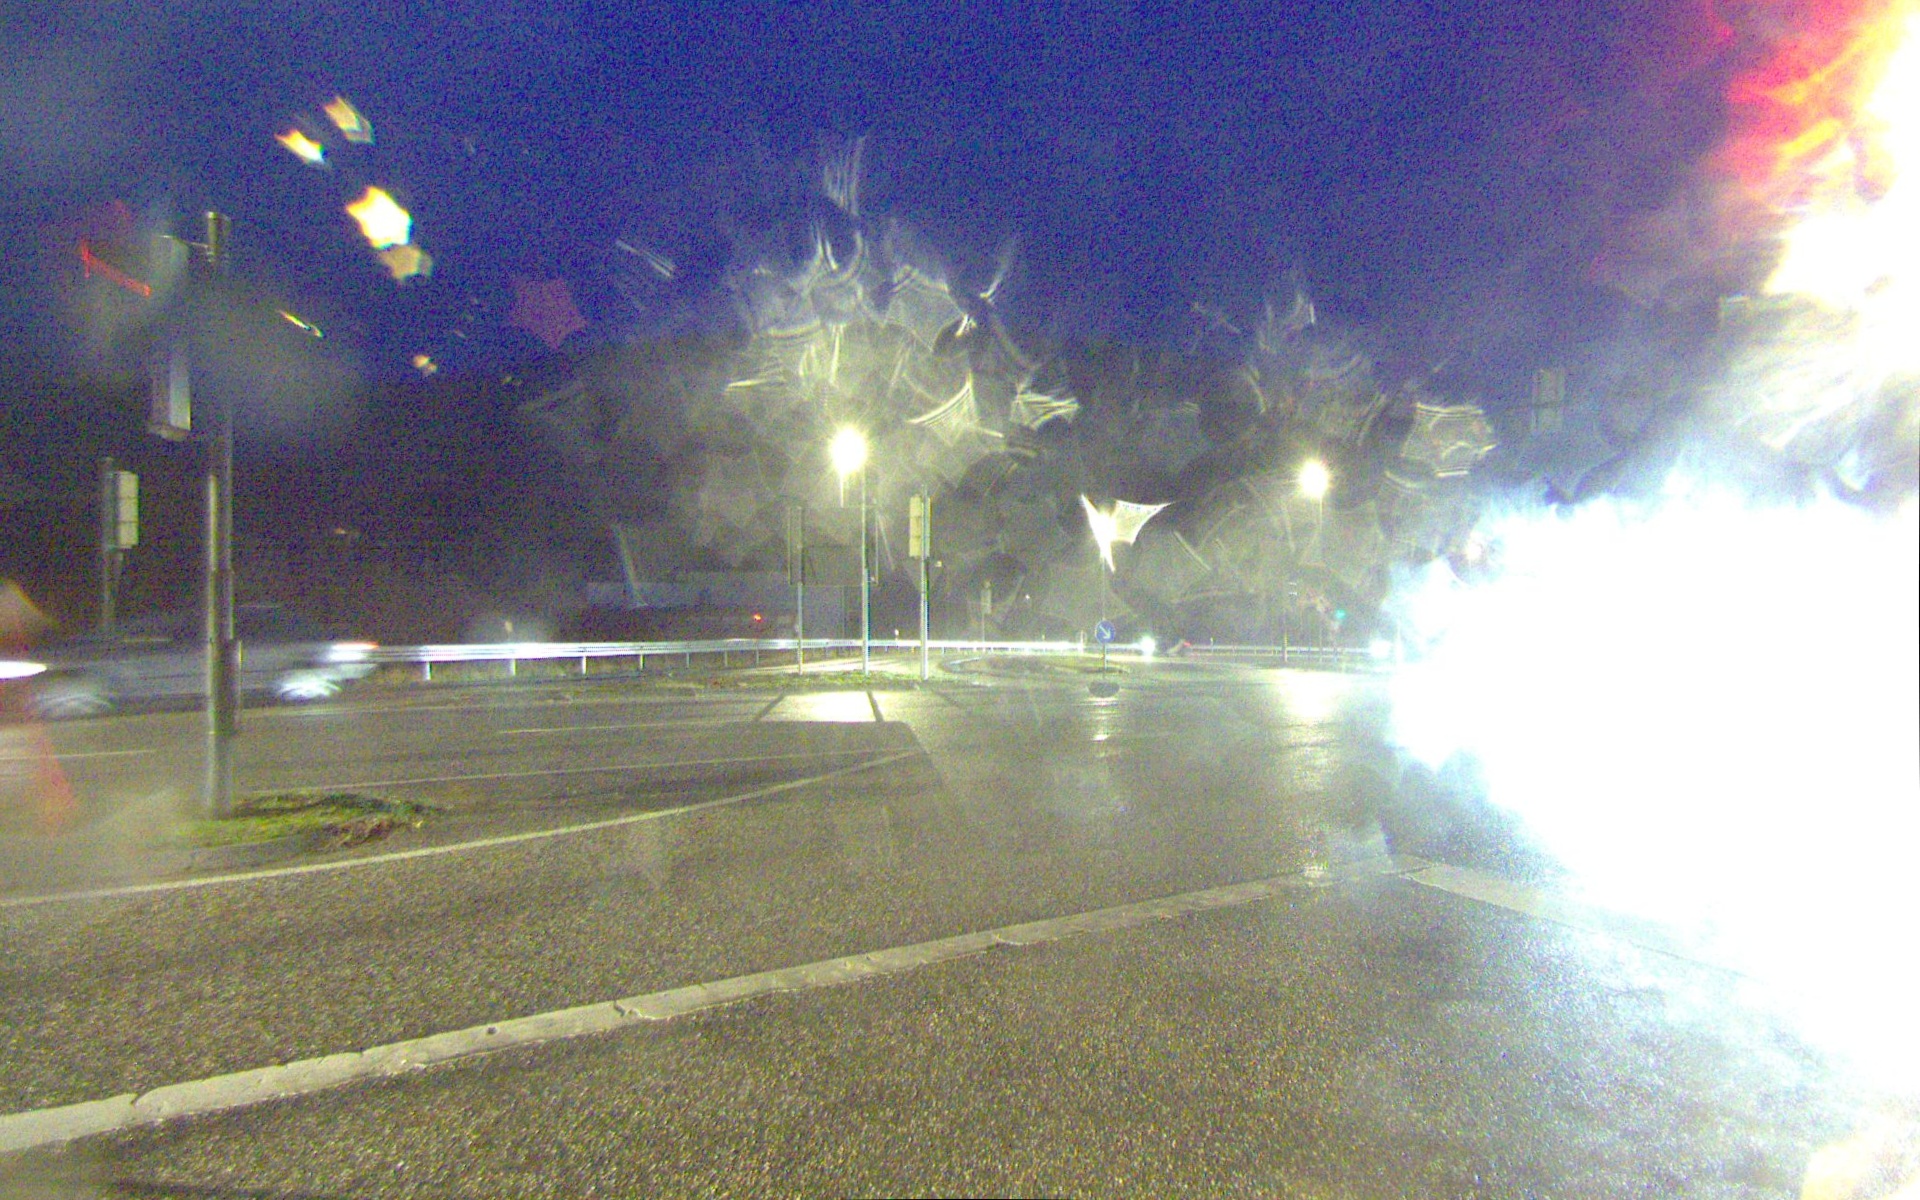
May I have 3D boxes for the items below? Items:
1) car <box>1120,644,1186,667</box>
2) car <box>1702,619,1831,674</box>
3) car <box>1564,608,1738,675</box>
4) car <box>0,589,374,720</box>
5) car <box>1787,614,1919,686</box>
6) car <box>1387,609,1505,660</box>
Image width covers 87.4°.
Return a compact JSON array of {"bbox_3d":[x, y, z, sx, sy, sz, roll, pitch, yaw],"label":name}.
[{"bbox_3d":[13.412,3.850,69.646,4.089,1.468,2.163,2,-1,-30],"label":"car"},{"bbox_3d":[23.303,1.348,29.008,3.683,1.473,1.660,2,-1,-29],"label":"car"},{"bbox_3d":[17.758,1.039,25.765,4.856,1.592,1.784,1,-1,-30],"label":"car"},{"bbox_3d":[-10.754,0.749,13.831,1.631,1.518,4.363,-2,-4,33],"label":"car"},{"bbox_3d":[22.187,1.181,24.339,4.653,1.592,1.692,1,-1,-28],"label":"car"},{"bbox_3d":[18.675,1.284,38.648,3.931,1.856,1.718,0,-1,32],"label":"car"}]
